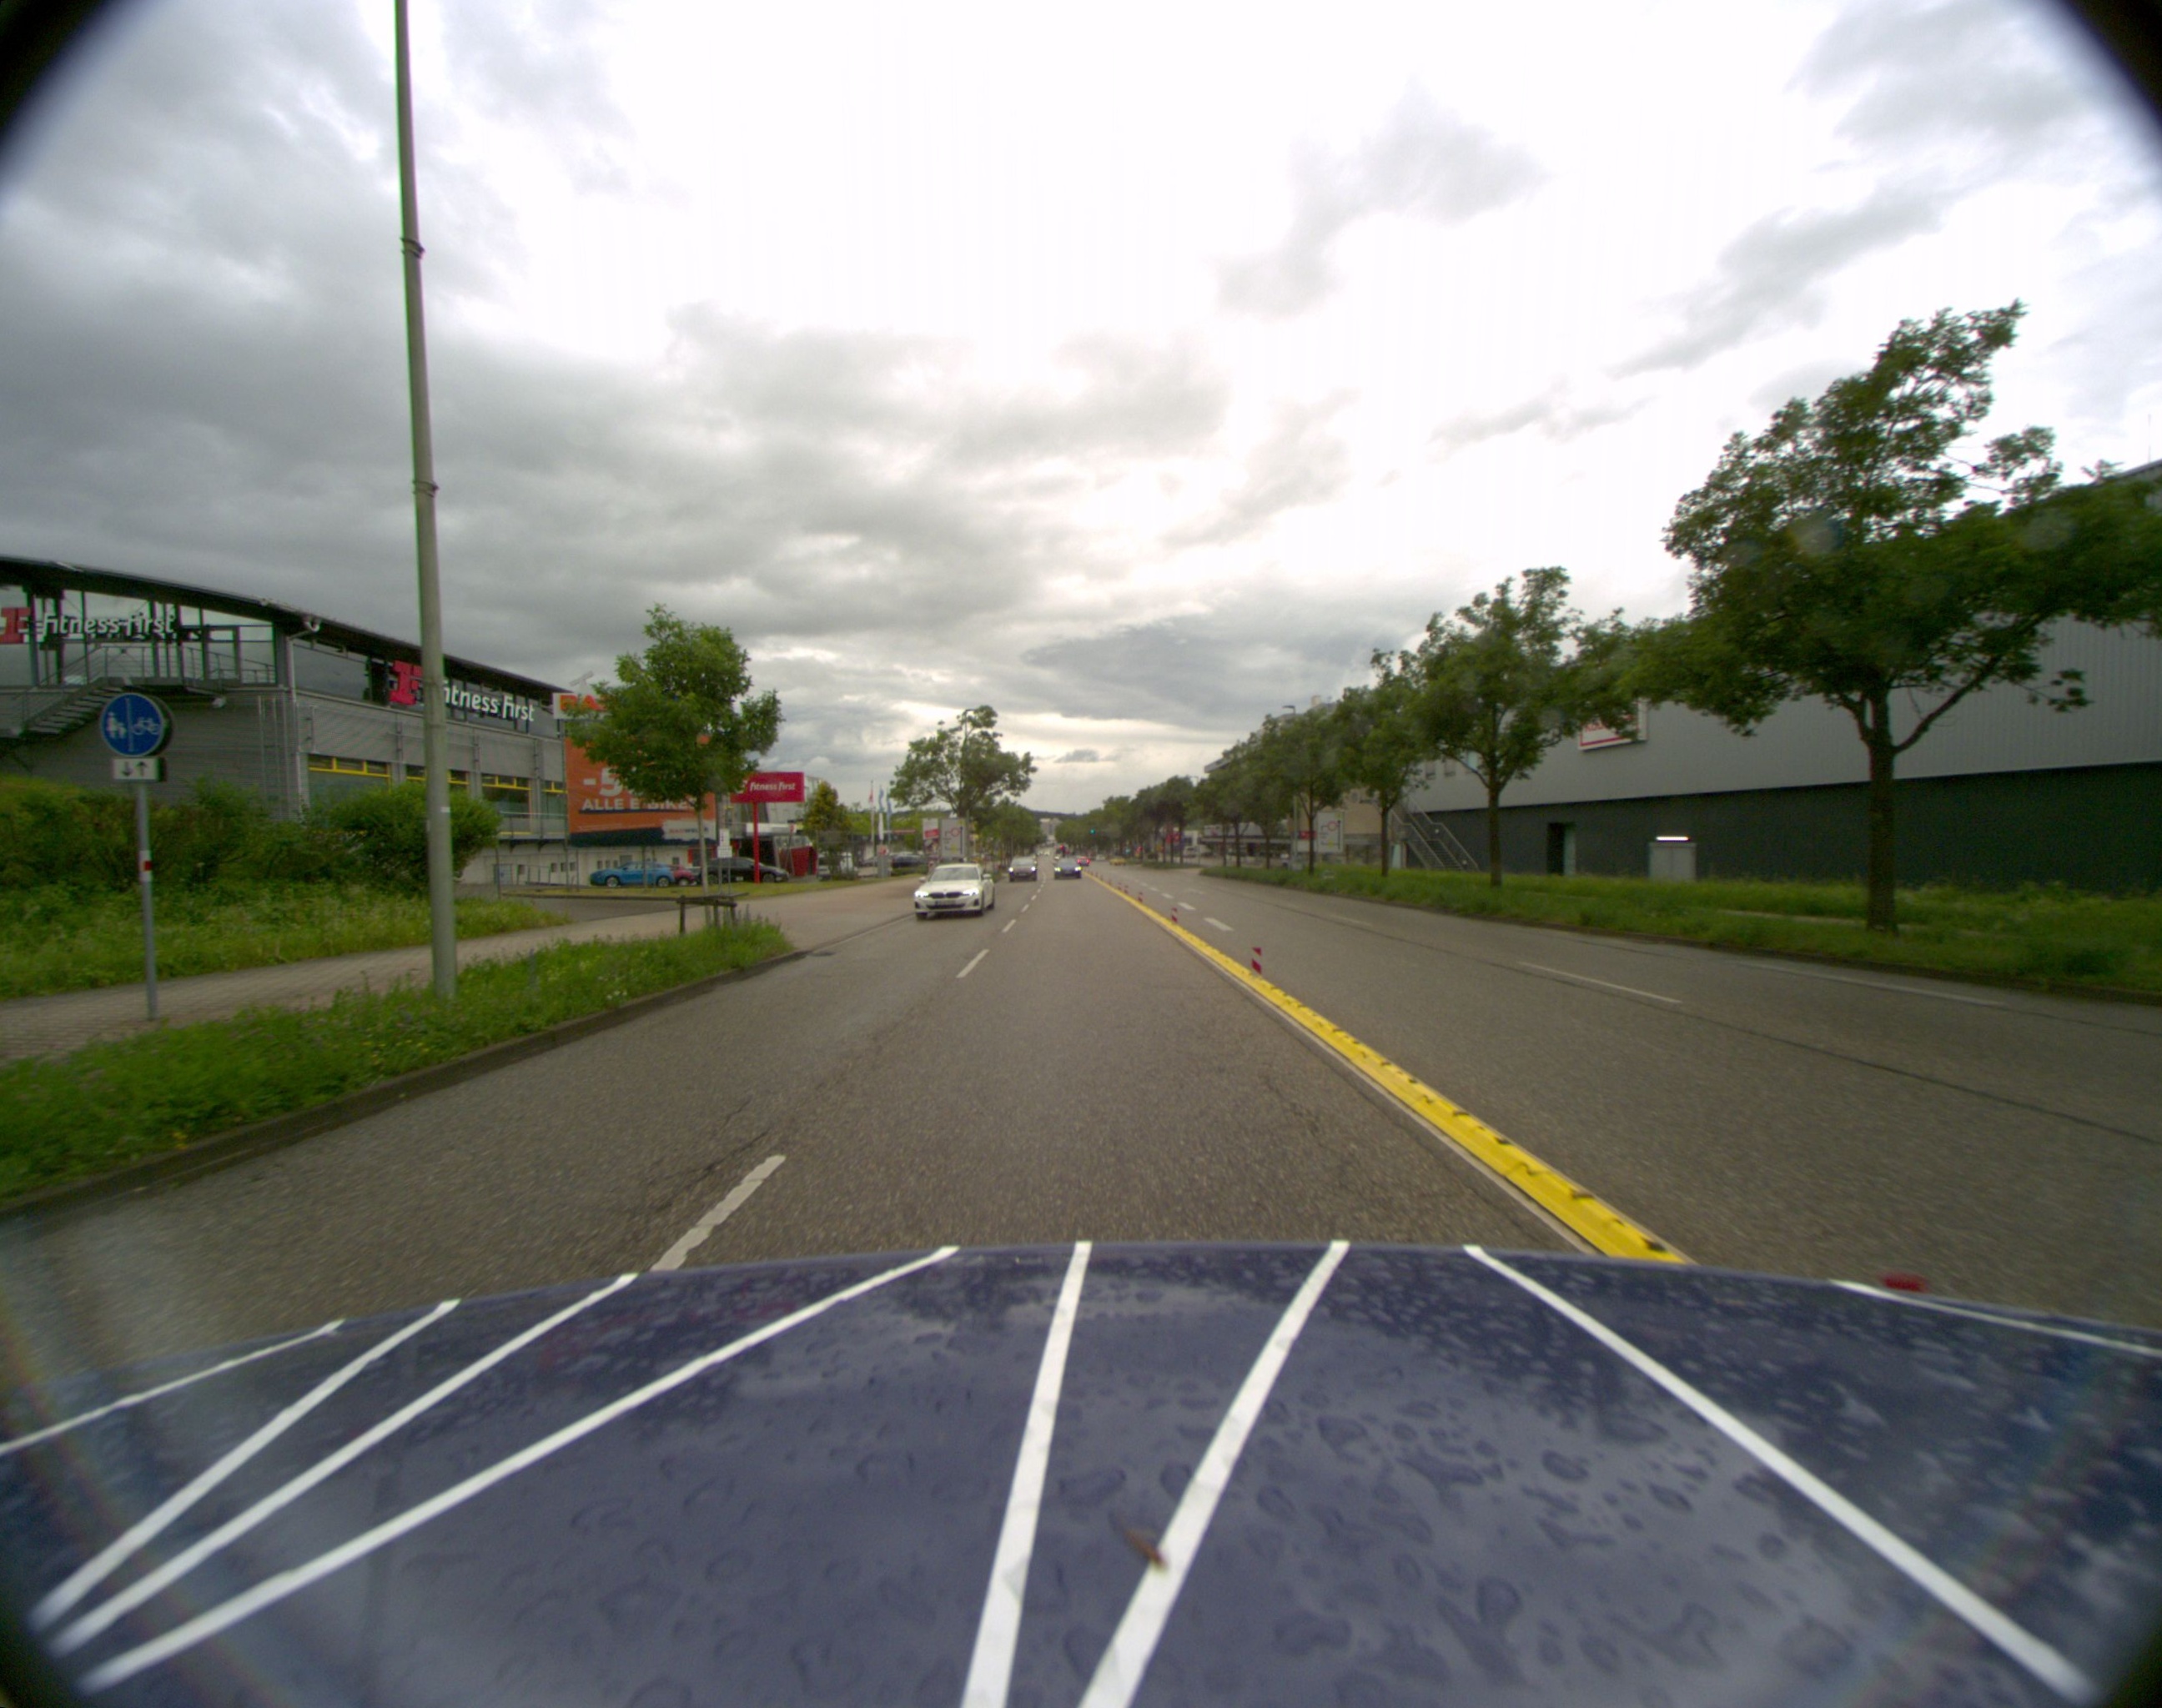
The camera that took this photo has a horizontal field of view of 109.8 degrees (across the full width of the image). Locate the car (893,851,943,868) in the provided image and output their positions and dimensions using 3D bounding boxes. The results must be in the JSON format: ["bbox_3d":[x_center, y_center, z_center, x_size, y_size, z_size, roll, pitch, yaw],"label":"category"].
[{"bbox_3d":[-17.218,0.603,80.396,4.664,1.591,1.927,2,0,8],"label":"car"}]

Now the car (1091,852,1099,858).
[{"bbox_3d":[3.475,0.266,192.984,1.745,1.544,4.780,0,0,-2],"label":"car"}]

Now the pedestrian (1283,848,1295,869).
[{"bbox_3d":[15.568,0.326,56.795,0.586,1.574,0.767,-3,1,0],"label":"pedestrian"}]

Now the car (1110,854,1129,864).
[{"bbox_3d":[6.347,0.814,124.595,1.623,1.500,3.704,-6,2,-22],"label":"car"}]

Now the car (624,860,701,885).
[{"bbox_3d":[-25.841,1.136,46.979,3.882,1.492,1.735,0,-2,-42],"label":"car"}]

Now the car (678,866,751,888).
[{"bbox_3d":[-25.590,1.578,53.109,1.735,1.461,4.269,-3,-2,44],"label":"car"}]

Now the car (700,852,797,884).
[{"bbox_3d":[-16.184,0.683,37.196,4.106,1.430,1.795,-1,-2,-15],"label":"car"}]

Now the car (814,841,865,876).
[{"bbox_3d":[-19.308,0.345,61.078,2.233,2.522,5.679,-3,0,0],"label":"car"}]

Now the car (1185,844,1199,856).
[{"bbox_3d":[20.326,-0.785,139.365,1.998,2.002,4.885,-6,1,2],"label":"car"}]

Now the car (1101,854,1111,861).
[{"bbox_3d":[5.502,0.753,168.144,1.745,1.398,4.467,0,1,-2],"label":"car"}]

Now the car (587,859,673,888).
[{"bbox_3d":[-25.595,1.069,43.197,3.919,1.549,1.735,0,-2,-44],"label":"car"}]

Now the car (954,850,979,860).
[{"bbox_3d":[-20.342,0.223,134.956,1.738,1.570,4.324,2,0,41],"label":"car"}]

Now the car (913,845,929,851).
[{"bbox_3d":[-42.046,-1.512,199.721,3.998,1.501,1.799,0,0,-3],"label":"car"}]

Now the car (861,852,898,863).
[{"bbox_3d":[-27.311,0.491,103.130,4.508,1.388,1.794,1,2,-44],"label":"car"}]

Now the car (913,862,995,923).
[{"bbox_3d":[-3.585,1.033,22.195,1.809,1.432,4.540,-3,0,-3],"label":"car"}]

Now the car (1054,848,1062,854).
[{"bbox_3d":[-5.856,-0.739,192.958,1.754,1.501,3.998,0,0,-3],"label":"car"}]

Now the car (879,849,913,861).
[{"bbox_3d":[-27.650,0.146,113.696,4.508,1.672,1.794,2,2,-41],"label":"car"}]

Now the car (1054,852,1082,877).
[{"bbox_3d":[-0.950,0.718,53.302,1.799,1.572,4.217,-3,0,-2],"label":"car"}]

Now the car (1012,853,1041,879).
[{"bbox_3d":[-3.657,0.785,51.145,1.799,1.572,4.217,-3,0,-3],"label":"car"}]

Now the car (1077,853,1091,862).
[{"bbox_3d":[0.468,0.524,113.580,1.789,1.398,4.615,0,0,-4],"label":"car"}]

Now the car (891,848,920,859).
[{"bbox_3d":[-28.495,-0.054,123.474,1.794,1.736,4.125,4,2,43],"label":"car"}]
